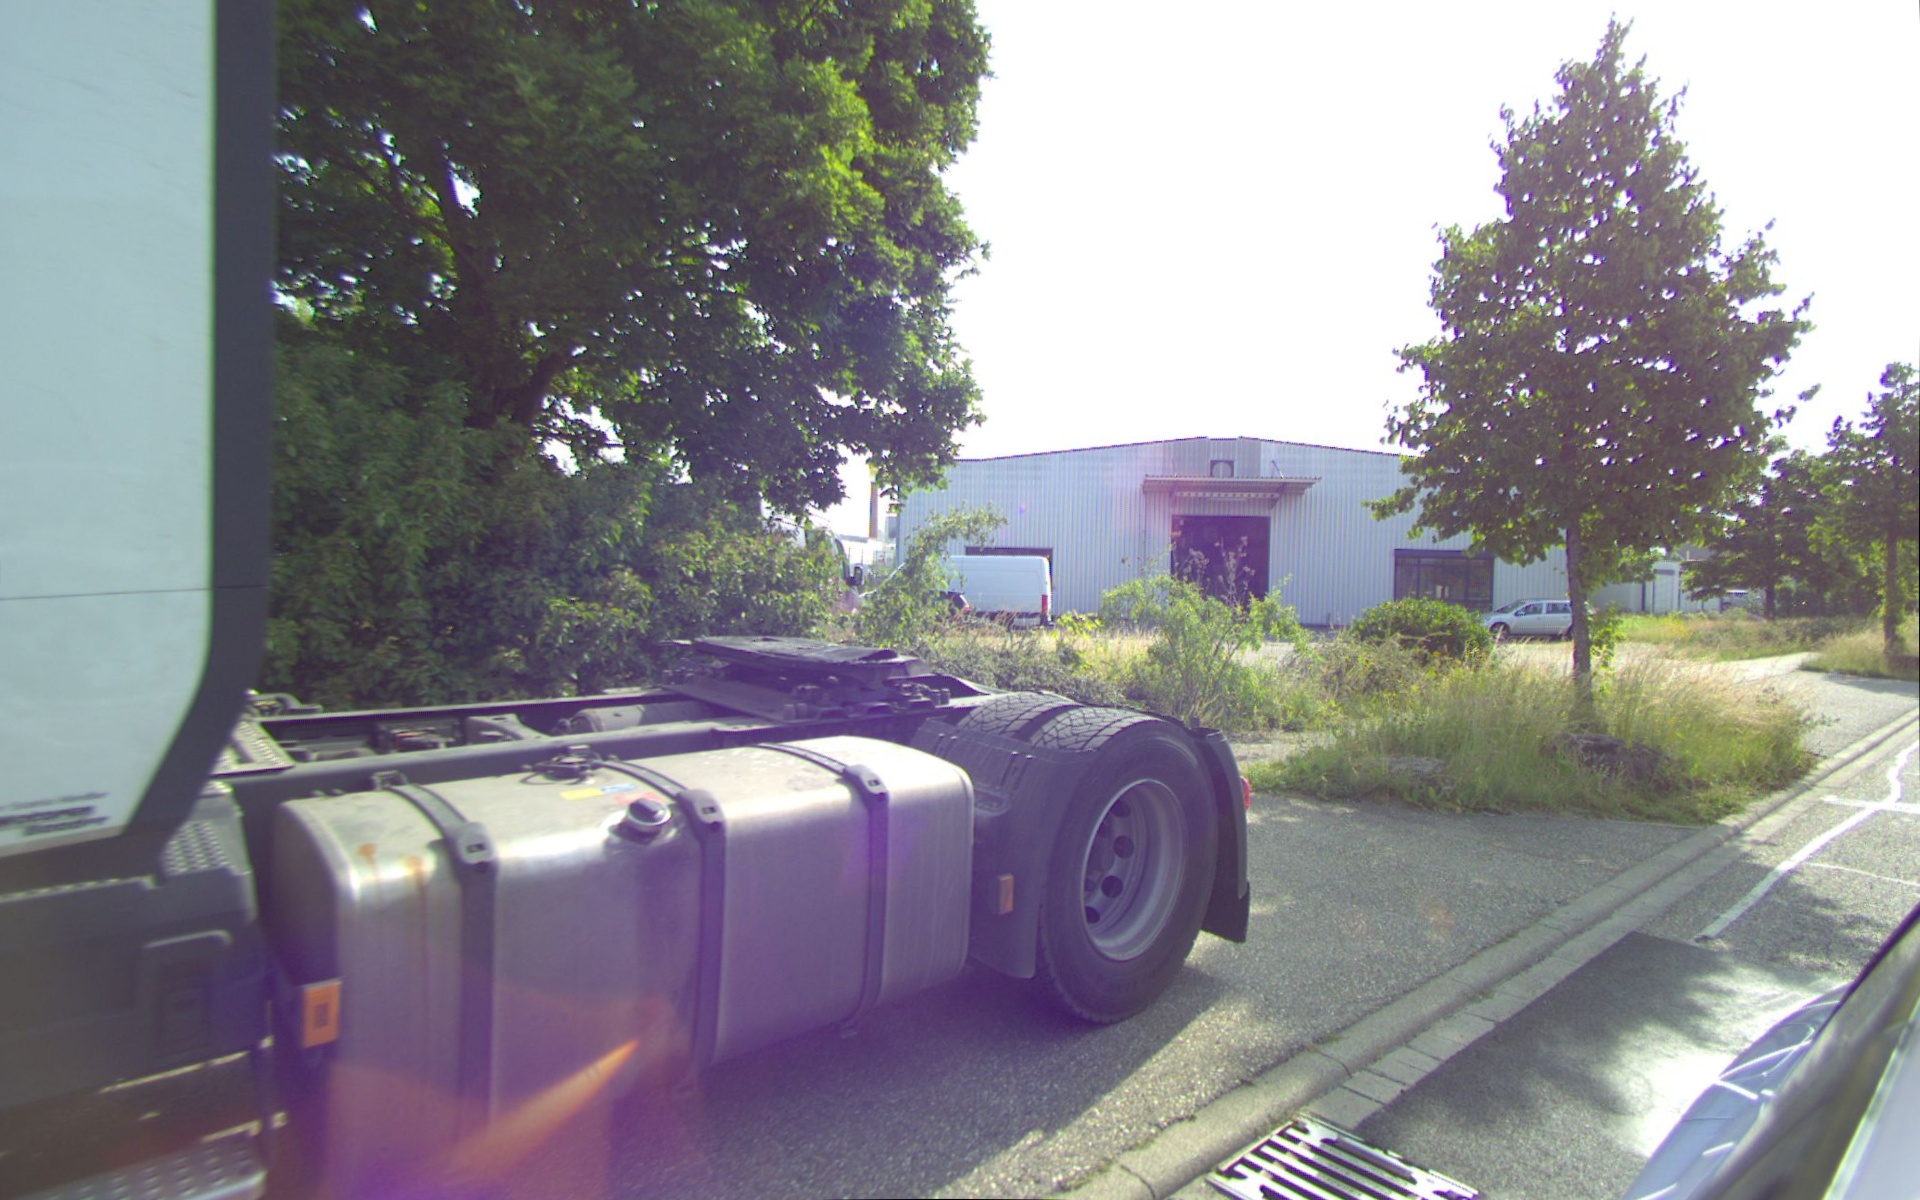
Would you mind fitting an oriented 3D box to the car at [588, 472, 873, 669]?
[{"bbox_3d":[-3.299,-0.375,16.275,2.532,2.557,6.034,-1,0,8],"label":"car"}]

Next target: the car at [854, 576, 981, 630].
[{"bbox_3d":[-1.298,0.088,31.520,3.669,1.490,1.755,2,0,9],"label":"car"}]

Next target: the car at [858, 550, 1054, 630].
[{"bbox_3d":[-0.081,-0.382,34.453,6.451,2.557,2.003,1,1,9],"label":"car"}]

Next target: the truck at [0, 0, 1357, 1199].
[{"bbox_3d":[-1.724,-0.779,2.630,5.946,4.012,2.696,0,4,-43],"label":"truck"}]

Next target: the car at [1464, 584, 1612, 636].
[{"bbox_3d":[21.170,0.339,37.217,4.285,1.581,1.757,2,4,7],"label":"car"}]
